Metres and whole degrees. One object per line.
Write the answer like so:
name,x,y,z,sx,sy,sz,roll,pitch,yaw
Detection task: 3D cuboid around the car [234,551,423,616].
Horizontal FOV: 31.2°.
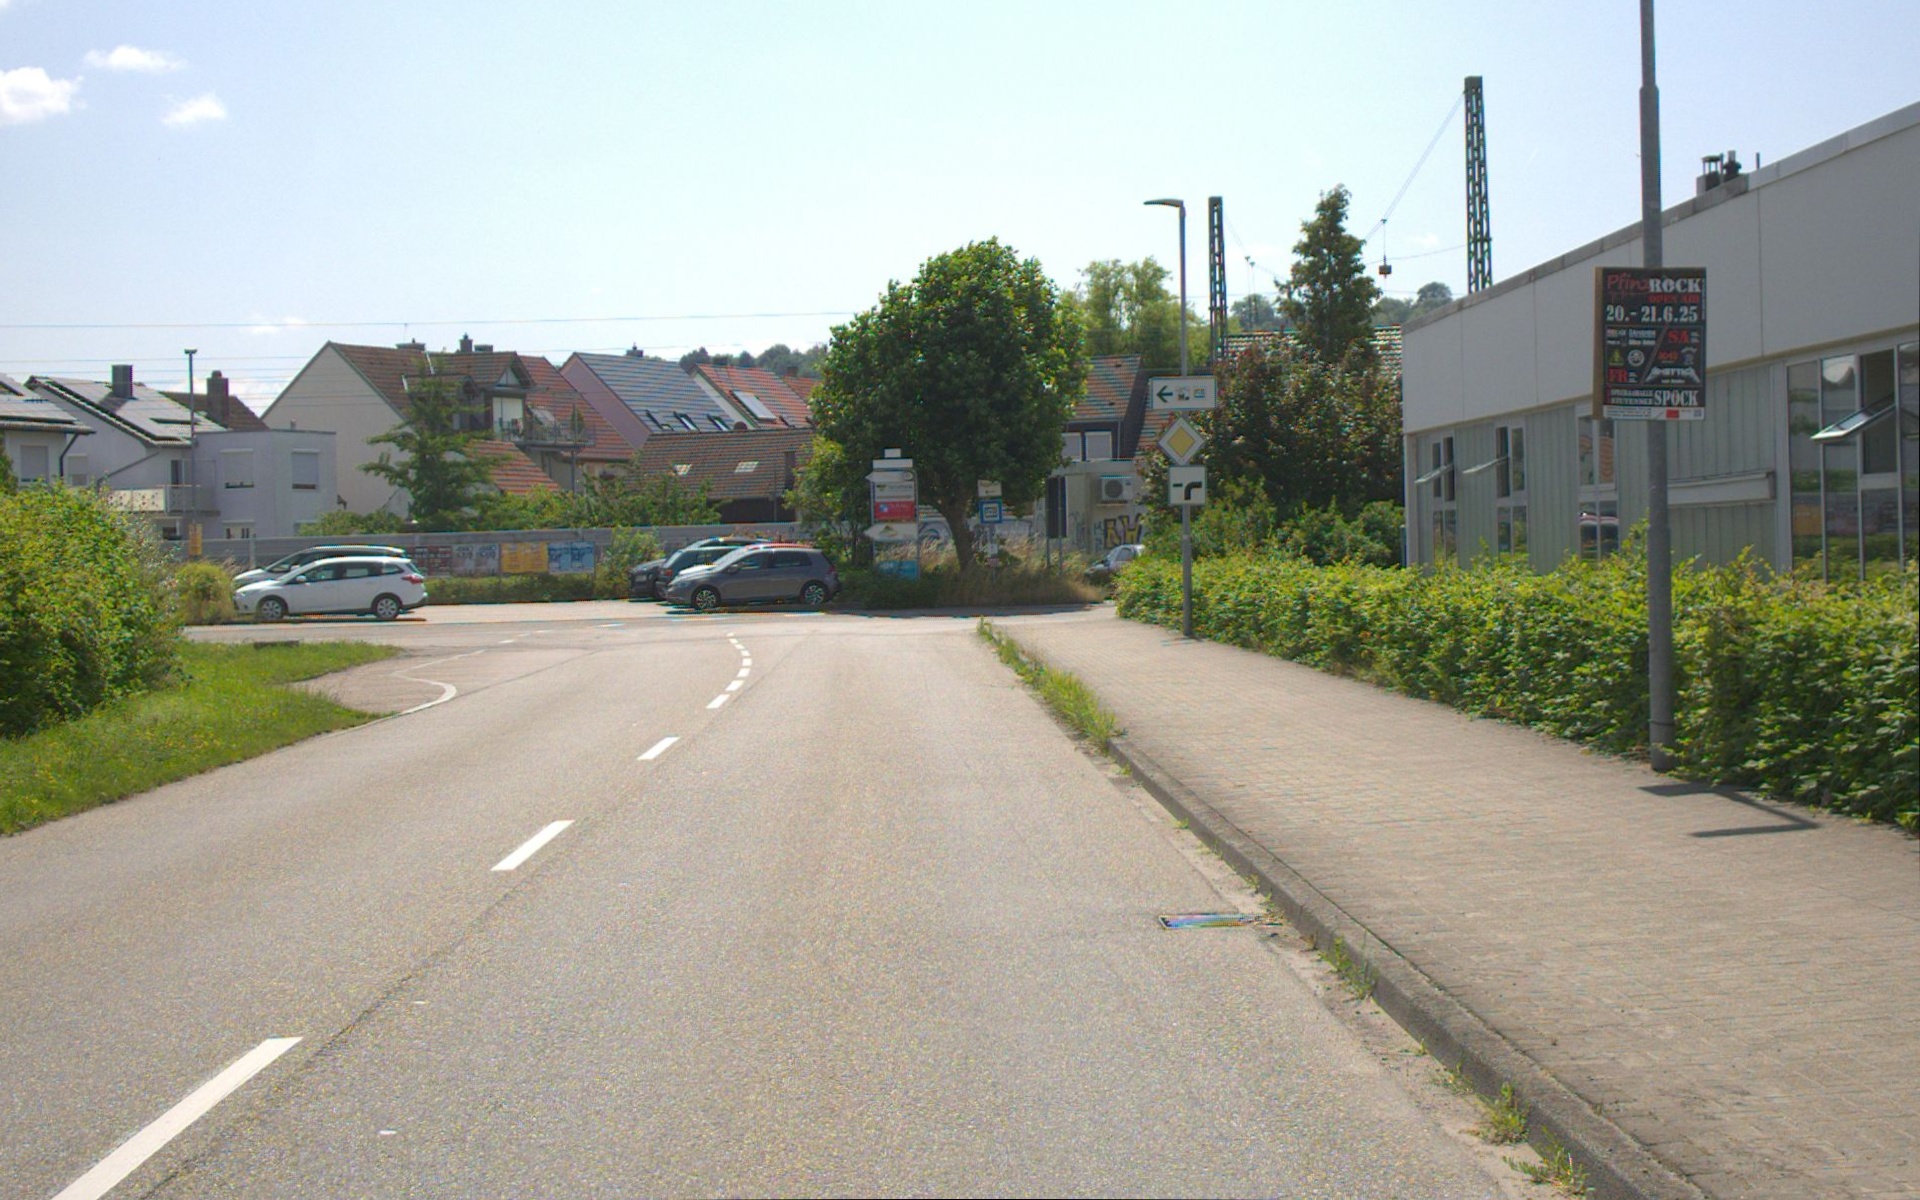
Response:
car,-14.902,-0.390,81.093,4.281,1.472,1.828,1,0,-13

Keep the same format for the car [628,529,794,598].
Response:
car,-6.371,-0.941,87.760,3.986,1.652,2.001,-1,1,-11

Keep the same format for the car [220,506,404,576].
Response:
car,-16.152,-1.485,85.813,4.450,1.685,2.001,-1,2,-10

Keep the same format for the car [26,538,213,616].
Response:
car,-20.111,-0.562,82.226,4.159,1.633,1.956,-3,1,-18

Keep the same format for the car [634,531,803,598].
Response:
car,-6.027,-0.881,85.505,3.986,1.581,1.780,-1,0,-10

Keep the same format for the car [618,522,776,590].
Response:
car,-6.954,-1.162,90.788,3.986,1.724,1.771,1,0,-11

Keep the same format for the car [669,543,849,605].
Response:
car,-4.872,-0.626,83.313,4.186,1.458,1.665,0,0,-10
